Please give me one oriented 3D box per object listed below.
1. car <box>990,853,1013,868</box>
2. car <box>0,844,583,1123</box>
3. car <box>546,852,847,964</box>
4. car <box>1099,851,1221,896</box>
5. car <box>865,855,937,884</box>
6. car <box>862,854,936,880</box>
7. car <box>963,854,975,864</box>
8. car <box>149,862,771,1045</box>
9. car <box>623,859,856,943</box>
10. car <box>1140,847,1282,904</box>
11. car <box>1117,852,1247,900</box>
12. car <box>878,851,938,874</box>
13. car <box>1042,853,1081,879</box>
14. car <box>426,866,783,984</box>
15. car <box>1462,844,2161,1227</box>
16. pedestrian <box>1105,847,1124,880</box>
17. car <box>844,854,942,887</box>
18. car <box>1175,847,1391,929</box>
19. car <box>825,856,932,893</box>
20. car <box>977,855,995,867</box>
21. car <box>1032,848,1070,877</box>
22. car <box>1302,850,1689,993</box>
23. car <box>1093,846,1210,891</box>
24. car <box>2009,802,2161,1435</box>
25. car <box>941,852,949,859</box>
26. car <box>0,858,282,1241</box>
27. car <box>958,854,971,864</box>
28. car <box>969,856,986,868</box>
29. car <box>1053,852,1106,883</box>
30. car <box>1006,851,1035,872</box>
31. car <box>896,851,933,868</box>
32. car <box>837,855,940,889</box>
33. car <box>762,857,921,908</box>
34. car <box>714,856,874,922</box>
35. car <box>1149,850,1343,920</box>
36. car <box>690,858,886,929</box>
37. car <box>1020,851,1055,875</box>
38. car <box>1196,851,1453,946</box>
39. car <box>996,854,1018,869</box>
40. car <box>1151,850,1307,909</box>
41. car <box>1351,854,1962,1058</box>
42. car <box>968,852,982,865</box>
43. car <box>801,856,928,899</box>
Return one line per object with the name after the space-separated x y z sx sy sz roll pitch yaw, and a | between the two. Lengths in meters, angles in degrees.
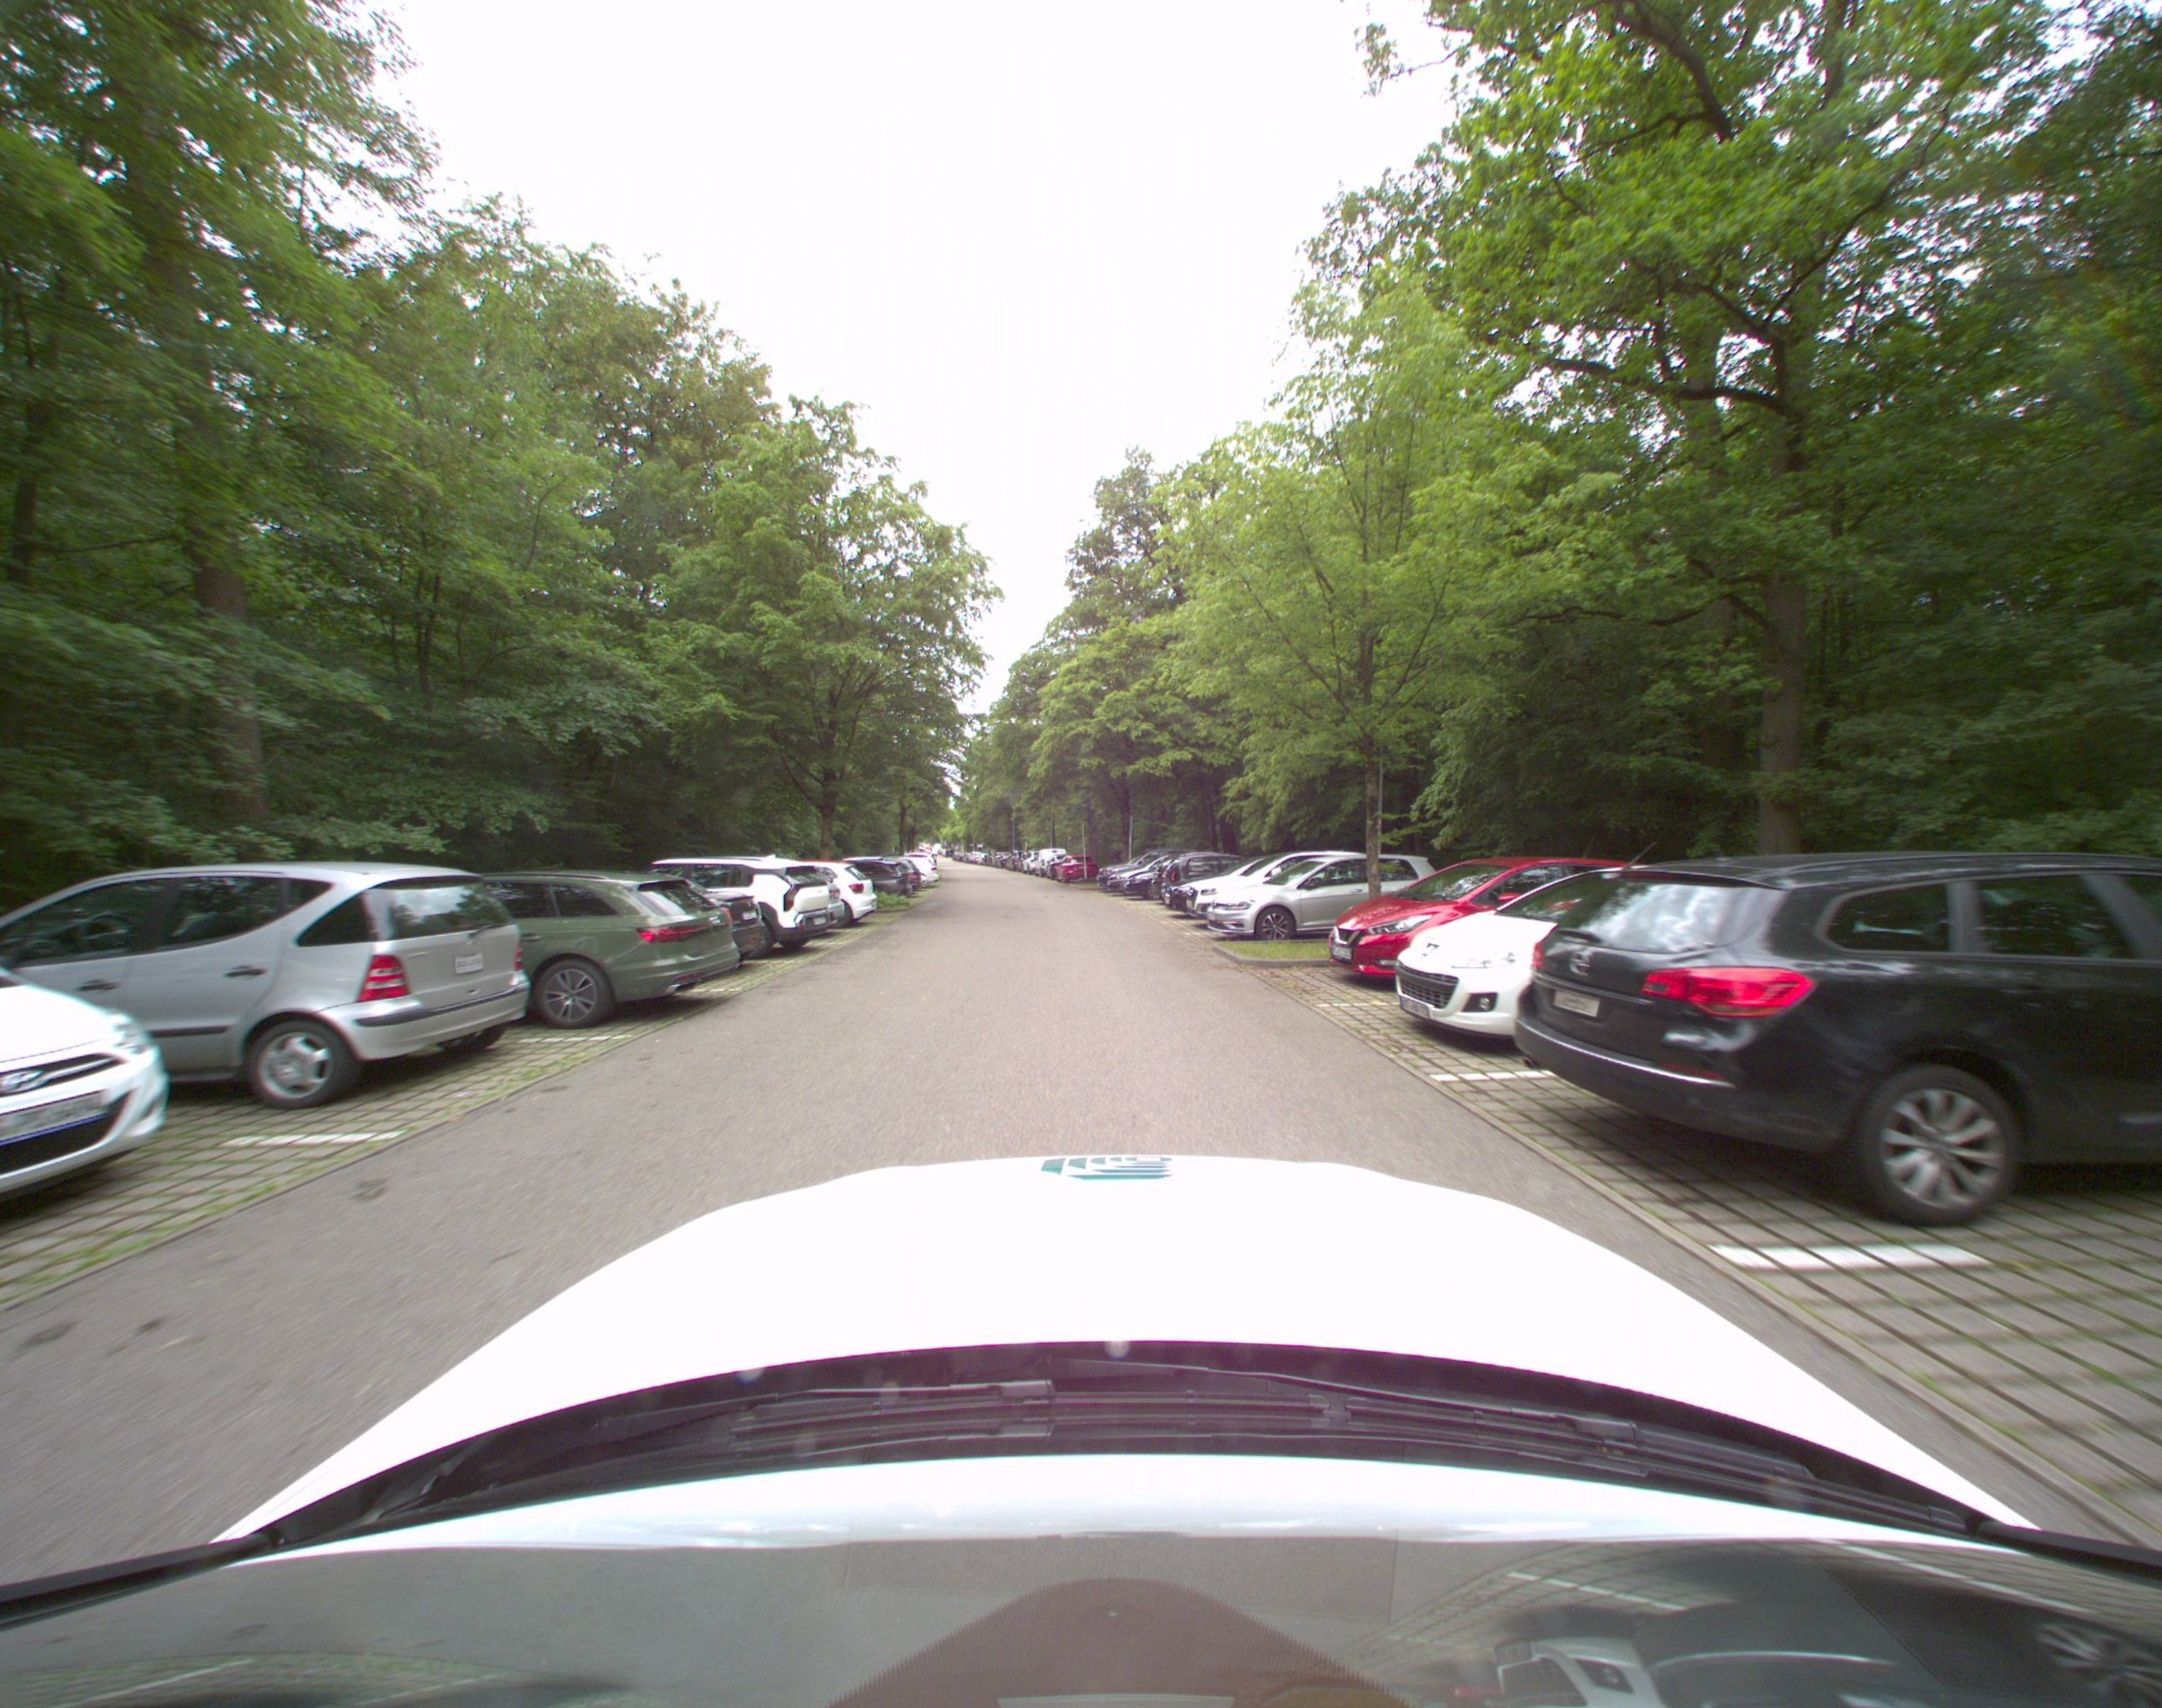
-8.449 0.702 86.432 1.980 1.537 4.602 0 0 -12 | car
-6.409 0.805 5.954 4.225 1.647 1.967 -1 0 -4 | car
-6.144 0.823 13.349 3.942 1.628 2.001 -1 0 4 | car
2.820 0.672 29.493 3.991 1.551 1.967 0 0 -13 | car
-10.481 0.885 47.556 4.036 1.555 1.912 -1 0 -12 | car
-11.642 0.794 52.418 4.516 1.584 1.920 -1 0 -11 | car
-17.451 0.783 126.862 1.712 1.509 3.984 0 0 -12 | car
-5.896 0.887 8.320 4.628 1.478 2.093 -1 0 -3 | car
-6.541 0.867 16.006 3.800 1.421 1.892 -1 0 -8 | car
3.824 0.620 24.375 3.823 1.531 1.847 -1 0 -7 | car
3.293 0.701 27.050 3.982 1.475 1.948 0 0 -6 | car
-12.649 0.617 59.782 4.225 1.633 2.022 0 0 -11 | car
-1.185 0.689 47.661 1.725 1.422 4.270 0 0 -9 | car
-6.302 0.895 11.138 3.782 1.356 1.727 -1 0 -4 | car
4.258 0.703 4.243 3.761 1.481 1.771 0 1 -5 | car
1.809 0.502 43.791 0.817 1.726 1.000 0 0 -10 | pedestrian
-9.263 0.790 40.400 4.562 1.486 1.864 -1 0 -10 | car
4.085 0.645 16.952 3.999 1.559 1.976 0 1 -3 | car
-8.735 0.863 35.380 4.368 1.486 1.884 -1 -1 -12 | car
-12.095 0.821 103.634 1.939 1.475 3.974 0 0 -13 | car
-2.017 0.546 52.904 1.745 1.780 4.534 0 0 -12 | car
4.804 0.690 9.693 3.796 1.441 1.864 -1 1 -11 | car
2.723 0.553 32.036 4.262 1.666 1.953 0 0 -8 | car
4.581 0.661 1.417 3.756 1.589 1.949 0 1 0 | car
-31.210 0.367 187.068 1.630 1.415 3.397 0 3 -13 | car
-6.497 0.839 3.498 4.223 1.533 1.761 -1 0 -3 | car
-19.182 0.815 133.844 1.922 1.520 3.872 0 0 -11 | car
-13.925 1.067 109.202 1.726 1.494 3.752 0 0 -17 | car
-0.170 0.642 42.135 1.993 1.479 4.956 0 0 -9 | car
-5.249 0.603 70.338 1.891 1.747 4.928 0 0 -12 | car
-18.781 0.618 91.694 3.994 1.816 2.104 -1 0 -15 | car
-8.949 0.831 38.081 4.568 1.447 2.076 -1 0 -13 | car
-7.337 0.853 25.379 4.398 1.424 2.032 -1 0 -6 | car
-7.148 0.844 20.557 3.459 1.481 1.681 -1 0 -5 | car
3.871 0.687 19.472 4.183 1.511 1.889 0 1 -7 | car
-6.445 0.841 18.279 3.719 1.419 1.869 -1 0 -4 | car
-3.214 0.631 58.974 1.787 1.662 4.697 0 0 -12 | car
4.206 0.718 14.419 3.972 1.483 1.880 0 1 -7 | car
-7.373 0.713 80.703 1.639 1.477 4.132 -1 0 -14 | car
3.960 0.656 22.141 3.821 1.457 1.805 -1 0 -5 | car
4.548 0.733 6.881 3.923 1.411 1.876 0 1 -3 | car
-14.914 0.586 114.760 1.712 1.728 3.984 0 0 -12 | car
-7.957 0.830 30.349 4.260 1.486 2.054 -1 0 -6 | car
